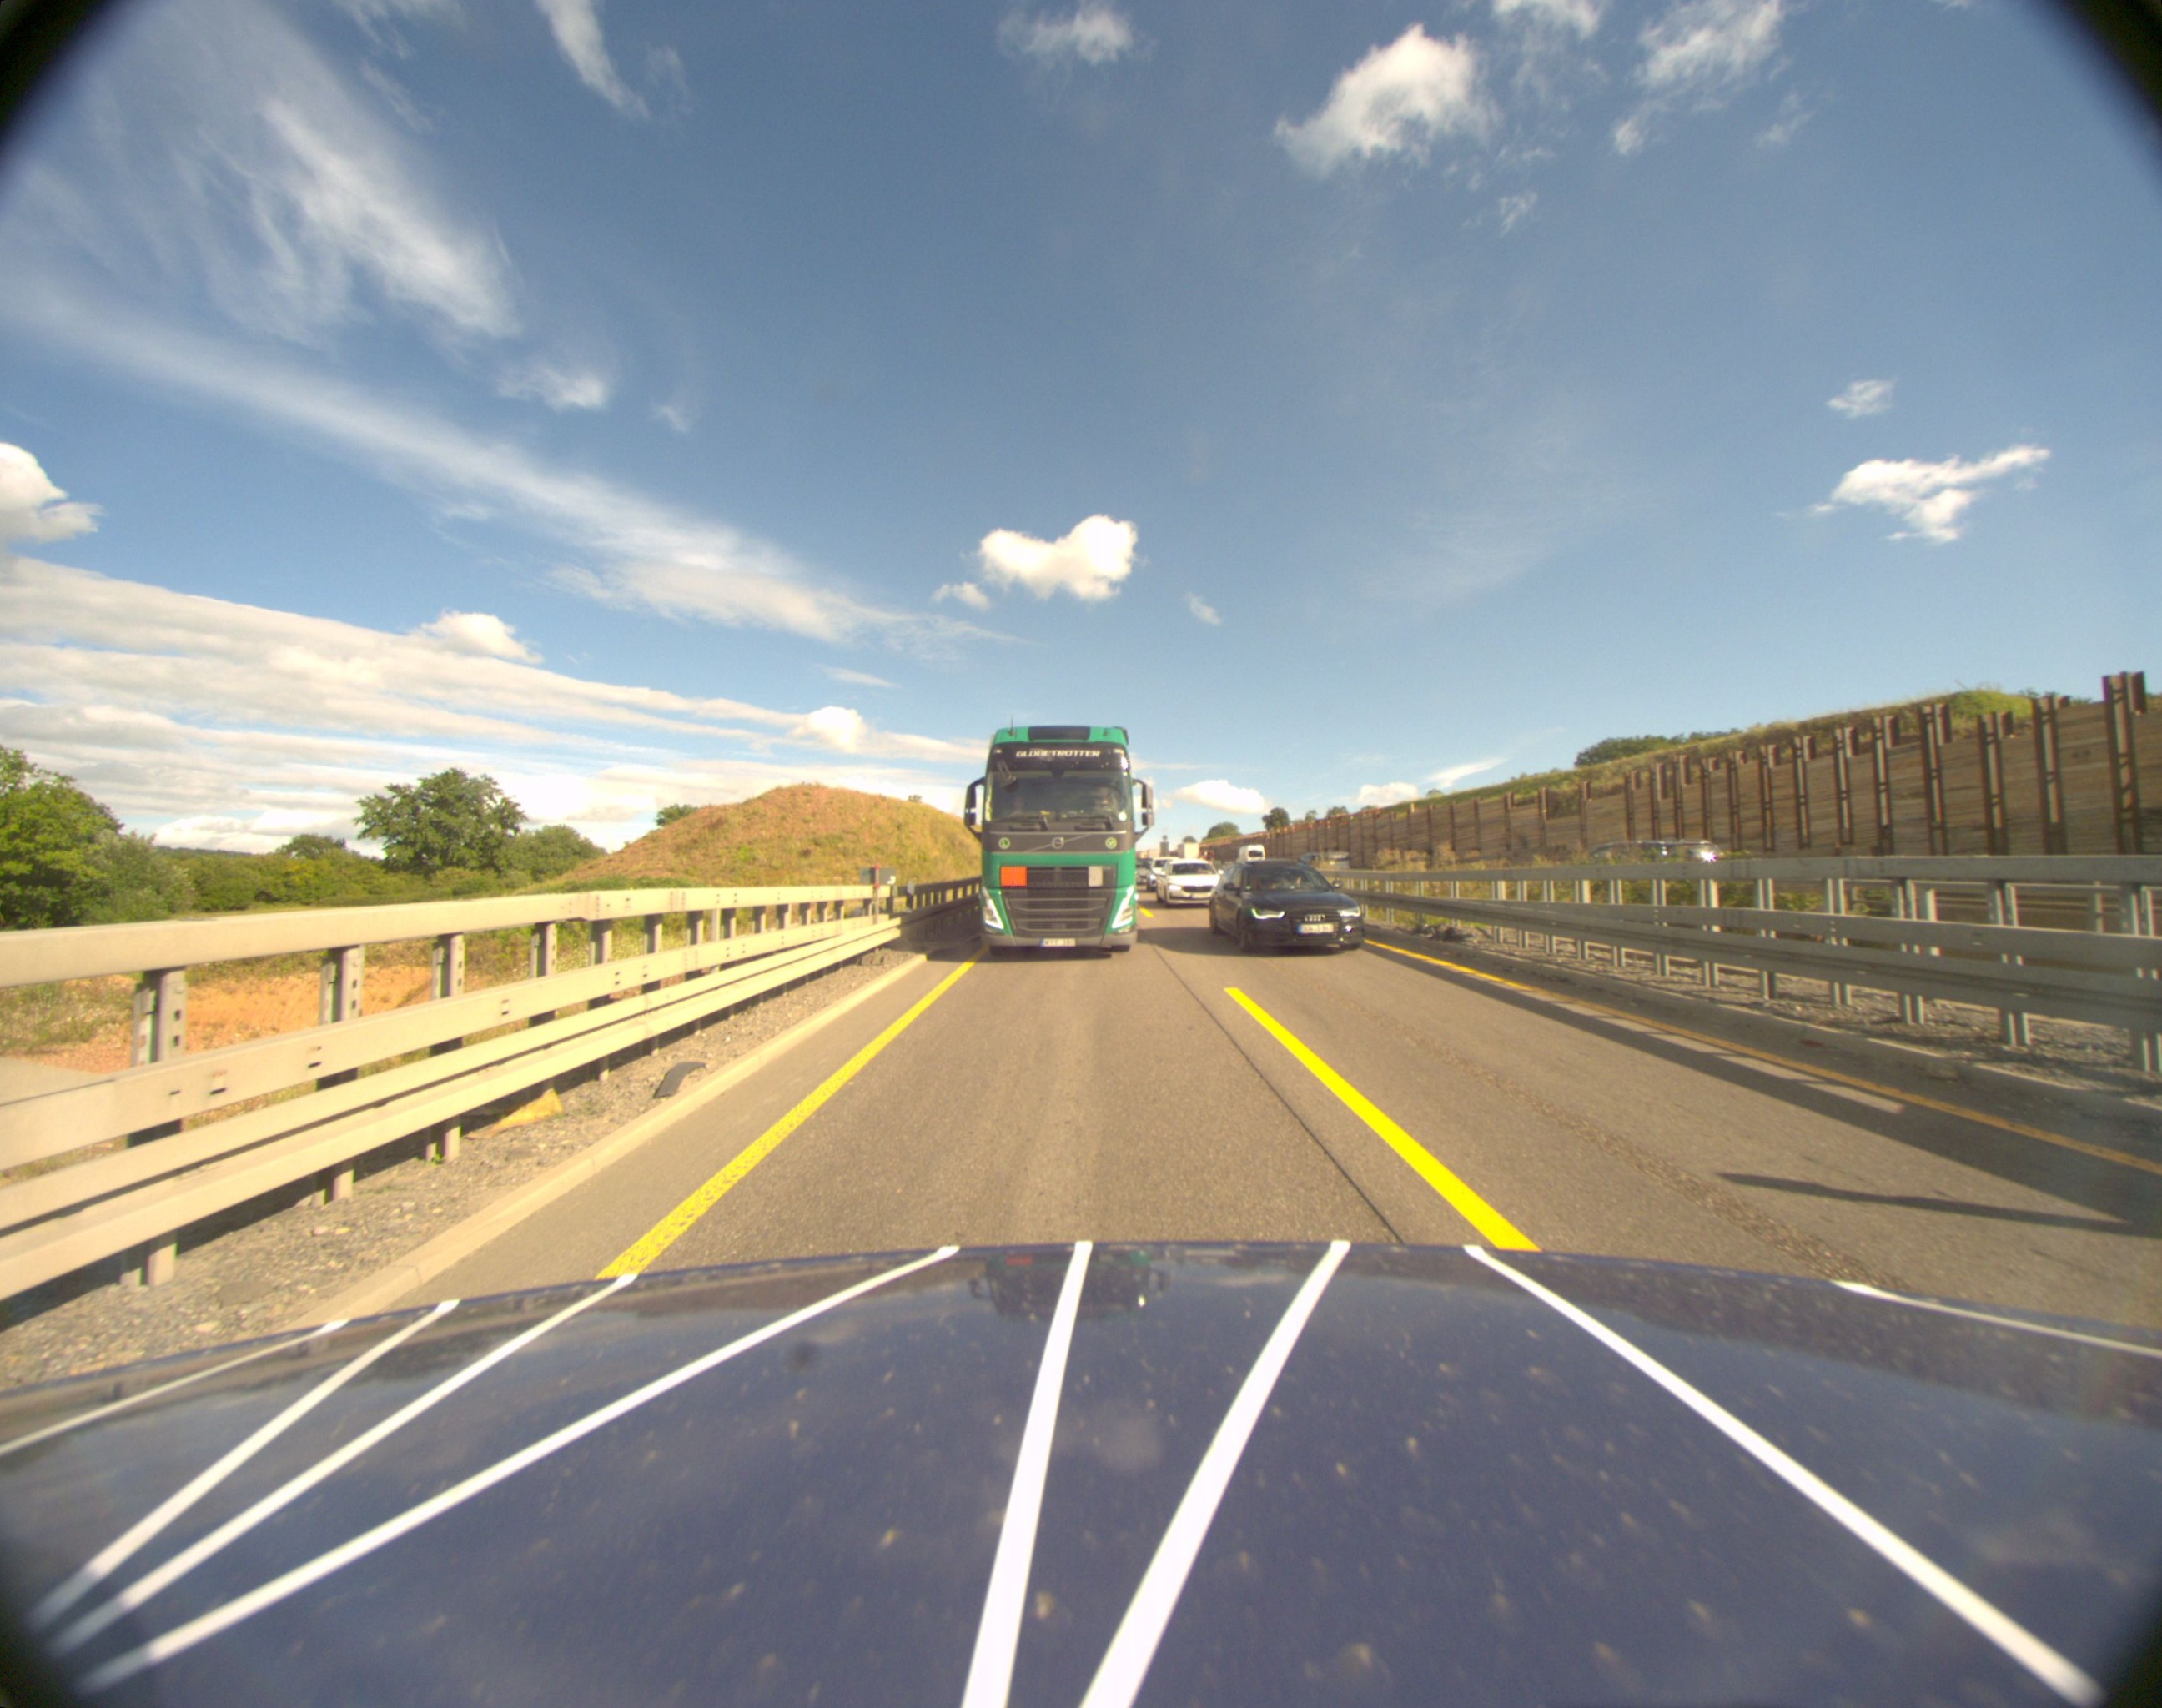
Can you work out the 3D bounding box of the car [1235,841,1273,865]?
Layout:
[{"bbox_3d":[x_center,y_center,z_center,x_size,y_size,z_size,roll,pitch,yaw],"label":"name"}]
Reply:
[{"bbox_3d":[18.561,-0.144,81.940,2.572,2.329,6.405,-2,1,1],"label":"car"}]

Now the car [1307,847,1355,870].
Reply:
[{"bbox_3d":[17.596,0.299,53.693,1.949,1.422,4.407,-4,1,0],"label":"car"}]

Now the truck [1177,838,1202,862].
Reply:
[{"bbox_3d":[18.839,-0.727,132.511,3.178,3.843,8.233,-2,1,1],"label":"truck"}]

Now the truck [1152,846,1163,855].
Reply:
[{"bbox_3d":[20.638,-0.945,204.533,2.383,2.503,6.553,-2,1,1],"label":"truck"}]

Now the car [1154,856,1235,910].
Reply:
[{"bbox_3d":[3.487,0.844,24.187,1.949,1.422,4.407,-1,1,1],"label":"car"}]

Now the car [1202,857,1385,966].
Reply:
[{"bbox_3d":[3.449,0.852,13.295,1.949,1.422,4.504,-2,1,1],"label":"car"}]

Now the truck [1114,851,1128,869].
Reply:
[{"bbox_3d":[9.182,1.289,175.350,2.663,3.825,10.316,-2,1,1],"label":"truck"}]

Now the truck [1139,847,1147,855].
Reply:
[{"bbox_3d":[19.334,-1.020,235.733,1.998,2.503,6.553,-2,1,1],"label":"truck"}]

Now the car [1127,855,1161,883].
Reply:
[{"bbox_3d":[3.724,0.873,45.360,1.659,1.510,3.999,-2,1,1],"label":"car"}]

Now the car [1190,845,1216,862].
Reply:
[{"bbox_3d":[18.158,-0.157,113.404,2.887,2.329,6.405,-2,1,1],"label":"car"}]

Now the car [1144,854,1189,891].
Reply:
[{"bbox_3d":[3.920,0.831,35.313,1.659,1.510,3.999,-2,1,1],"label":"car"}]

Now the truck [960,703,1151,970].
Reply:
[{"bbox_3d":[-0.307,-0.314,16.330,2.663,3.825,10.316,-2,1,1],"label":"truck"}]

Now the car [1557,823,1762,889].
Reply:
[{"bbox_3d":[14.740,0.007,19.754,1.949,1.422,4.407,-4,1,0],"label":"car"}]
